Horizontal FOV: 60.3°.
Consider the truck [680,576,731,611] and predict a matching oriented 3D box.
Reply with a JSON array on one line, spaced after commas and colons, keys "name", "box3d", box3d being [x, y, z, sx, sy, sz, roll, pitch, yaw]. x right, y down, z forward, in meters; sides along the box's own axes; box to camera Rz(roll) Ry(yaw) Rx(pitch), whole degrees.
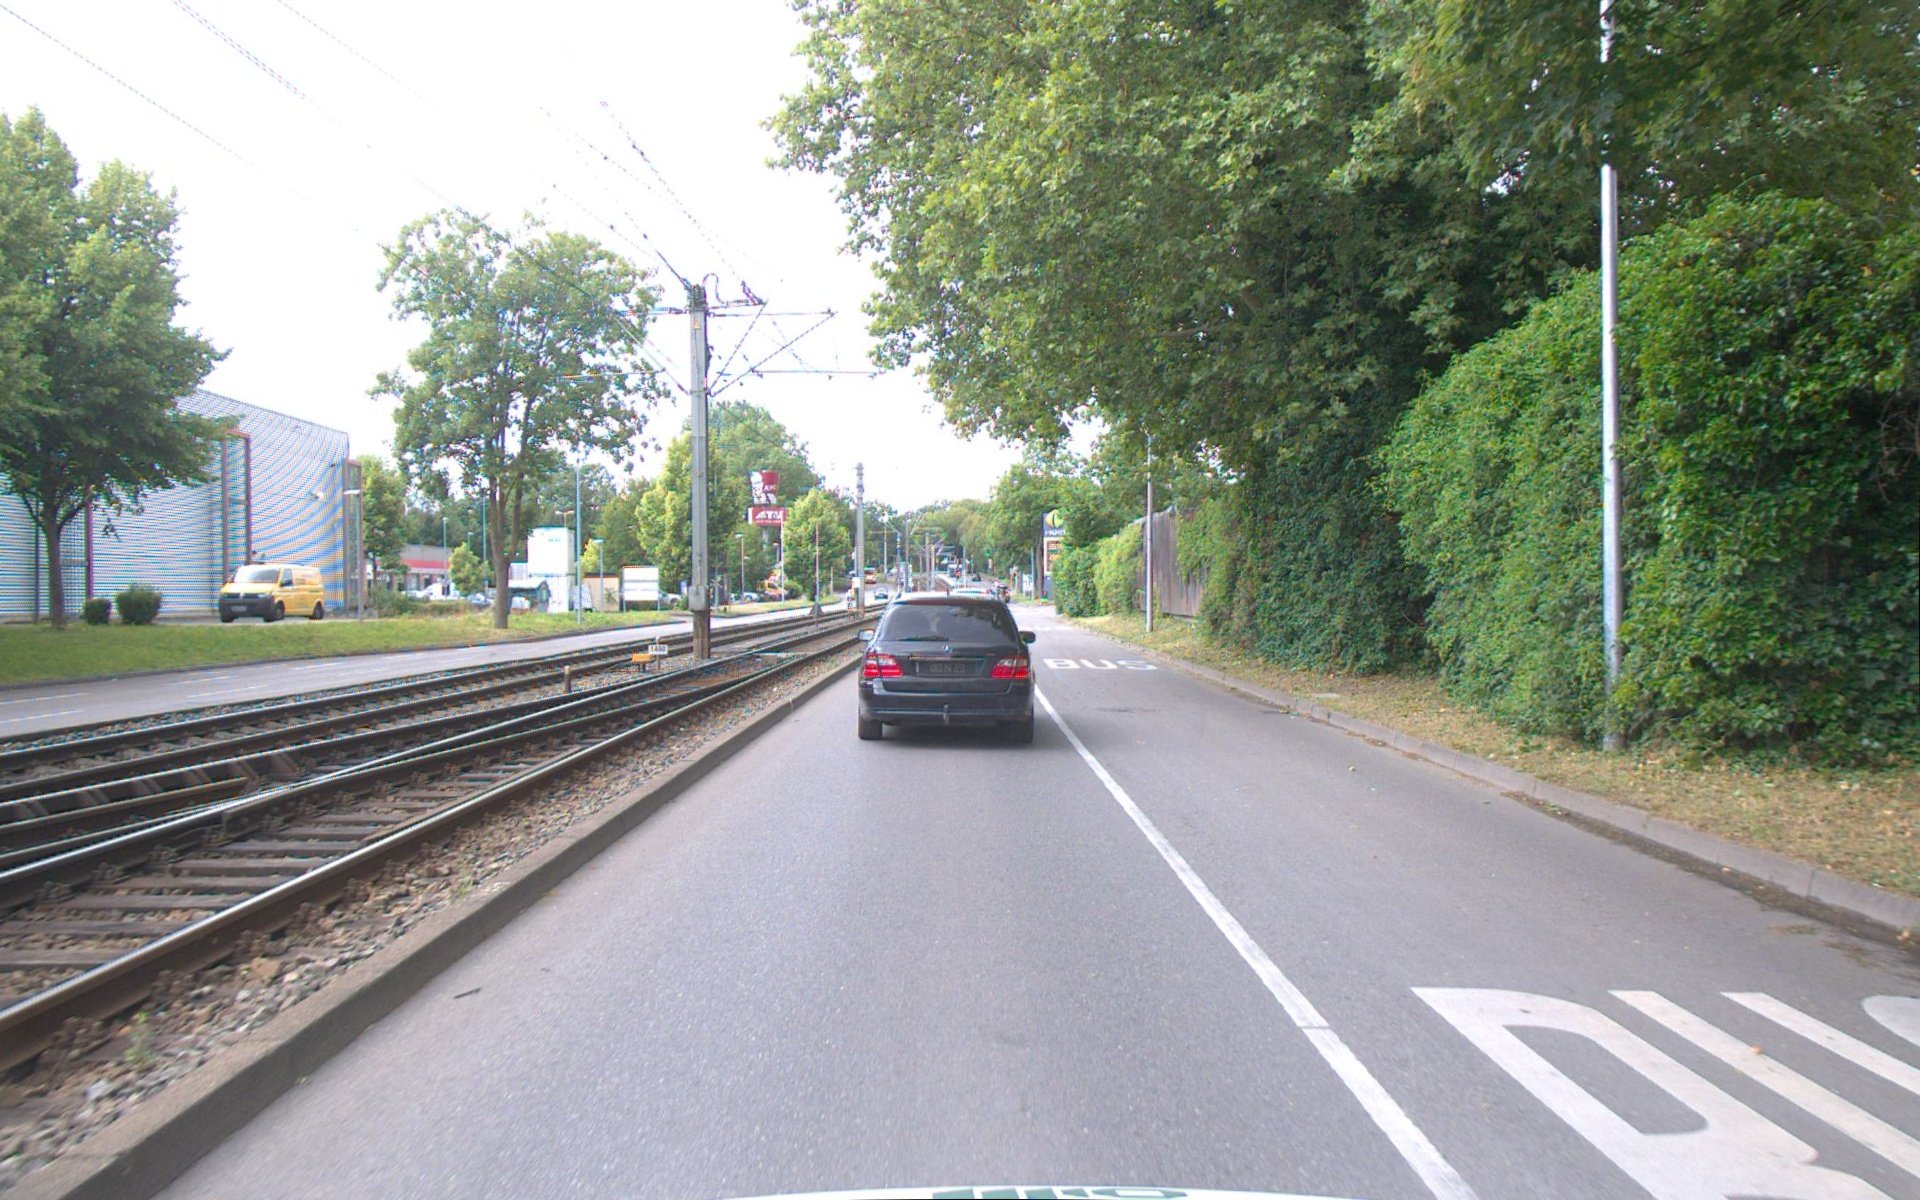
[{"name": "truck", "box3d": [-21.300, -0.558, 138.497, 3.907, 2.871, 2.375, -1, 0, -2]}]

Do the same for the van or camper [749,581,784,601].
[{"name": "van or camper", "box3d": [-21.954, -0.997, 187.819, 3.908, 2.172, 1.877, 1, 0, -4]}]

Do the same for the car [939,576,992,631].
[{"name": "car", "box3d": [0.203, 0.115, 57.268, 1.744, 1.781, 3.718, 2, 0, 1]}]

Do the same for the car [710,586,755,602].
[{"name": "car", "box3d": [-22.156, -0.619, 161.216, 4.219, 1.497, 1.680, 0, 0, -2]}]

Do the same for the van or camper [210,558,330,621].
[{"name": "van or camper", "box3d": [-23.329, -0.370, 56.136, 2.061, 2.049, 5.240, 0, 0, -3]}]

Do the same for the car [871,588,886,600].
[{"name": "car", "box3d": [-10.878, -0.819, 221.388, 1.723, 1.425, 4.443, -3, 0, 0]}]

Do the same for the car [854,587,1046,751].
[{"name": "car", "box3d": [-0.068, 0.626, 17.347, 1.771, 1.500, 3.881, 1, 0, 1]}]

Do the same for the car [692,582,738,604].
[{"name": "car", "box3d": [-21.890, -0.633, 148.095, 3.908, 1.829, 1.877, -1, 0, -4]}]

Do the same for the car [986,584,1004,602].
[{"name": "car", "box3d": [3.019, -0.583, 143.054, 1.538, 1.439, 3.354, 2, 0, 1]}]
